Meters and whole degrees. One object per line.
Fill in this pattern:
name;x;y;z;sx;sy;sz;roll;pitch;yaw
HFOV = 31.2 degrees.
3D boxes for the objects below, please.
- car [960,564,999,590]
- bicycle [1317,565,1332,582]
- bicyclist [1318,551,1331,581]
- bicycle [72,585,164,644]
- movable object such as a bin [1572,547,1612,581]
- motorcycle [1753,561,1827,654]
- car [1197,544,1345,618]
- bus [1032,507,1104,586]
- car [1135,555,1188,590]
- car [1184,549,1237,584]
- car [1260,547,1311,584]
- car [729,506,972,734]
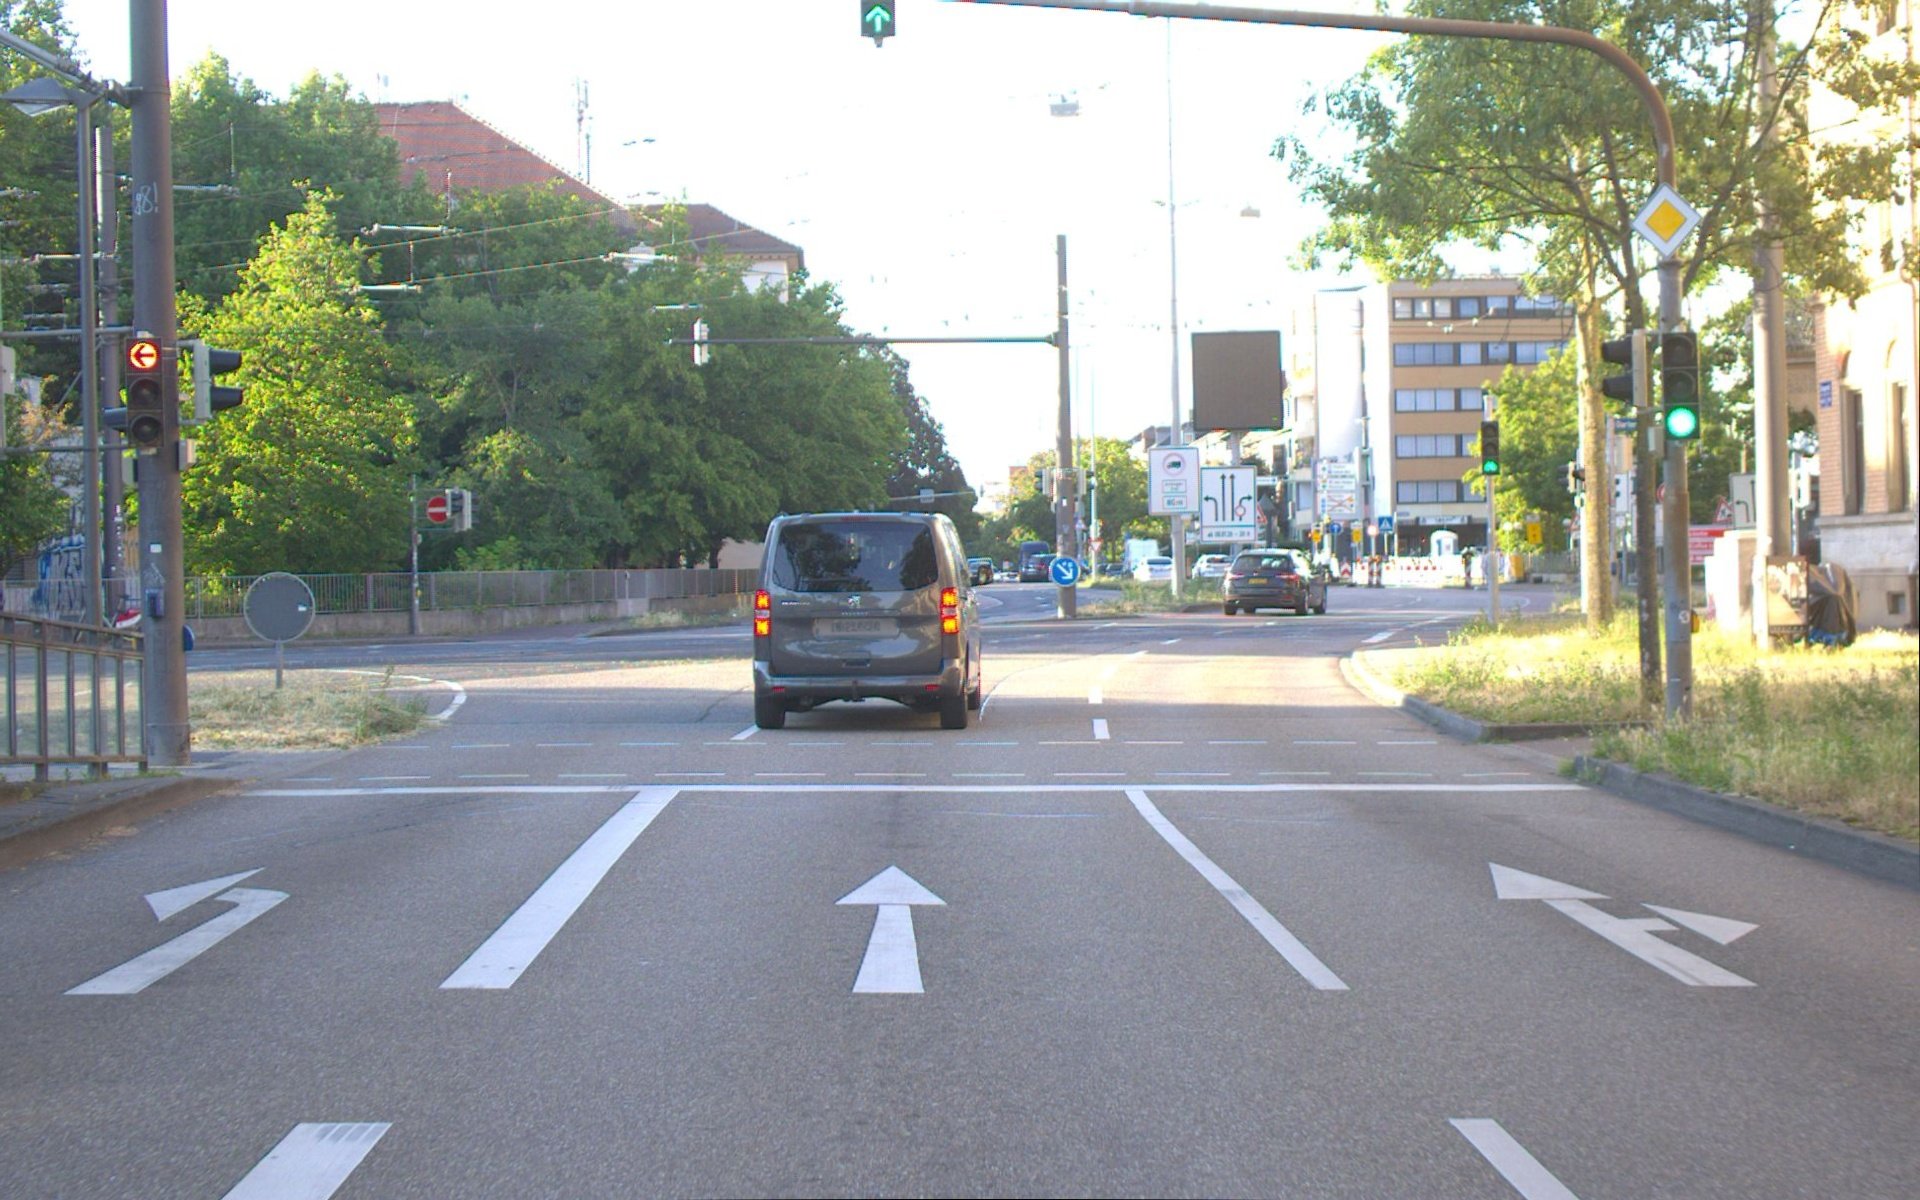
car;1.209;-1.446;213.975;1.994;1.590;3.999;-1;1;6
bicycle;17.661;-1.287;166.710;0.533;0.844;1.683;-1;1;0
bicyclist;17.648;-1.652;166.638;0.541;1.454;0.641;-1;0;0
bicycle;-16.932;0.281;69.185;1.717;1.138;0.559;-2;1;-42
movable object such as a bin;25.704;-1.468;139.839;1.463;1.381;1.546;-1;1;8
motorcycle;9.696;0.076;40.196;0.604;1.040;1.744;-1;1;6
car;6.726;-0.421;74.163;1.848;1.539;3.625;-1;1;29
bus;6.384;-3.141;204.433;3.289;4.601;10.001;0;0;-4
car;9.715;-1.327;165.982;1.993;1.651;4.300;-1;1;-3
car;12.127;-1.636;166.864;1.993;1.651;4.300;-1;1;-3
car;15.243;-1.630;161.307;1.993;1.651;4.299;-1;1;1
car;-0.917;0.149;31.165;1.993;1.894;4.299;1;1;1
